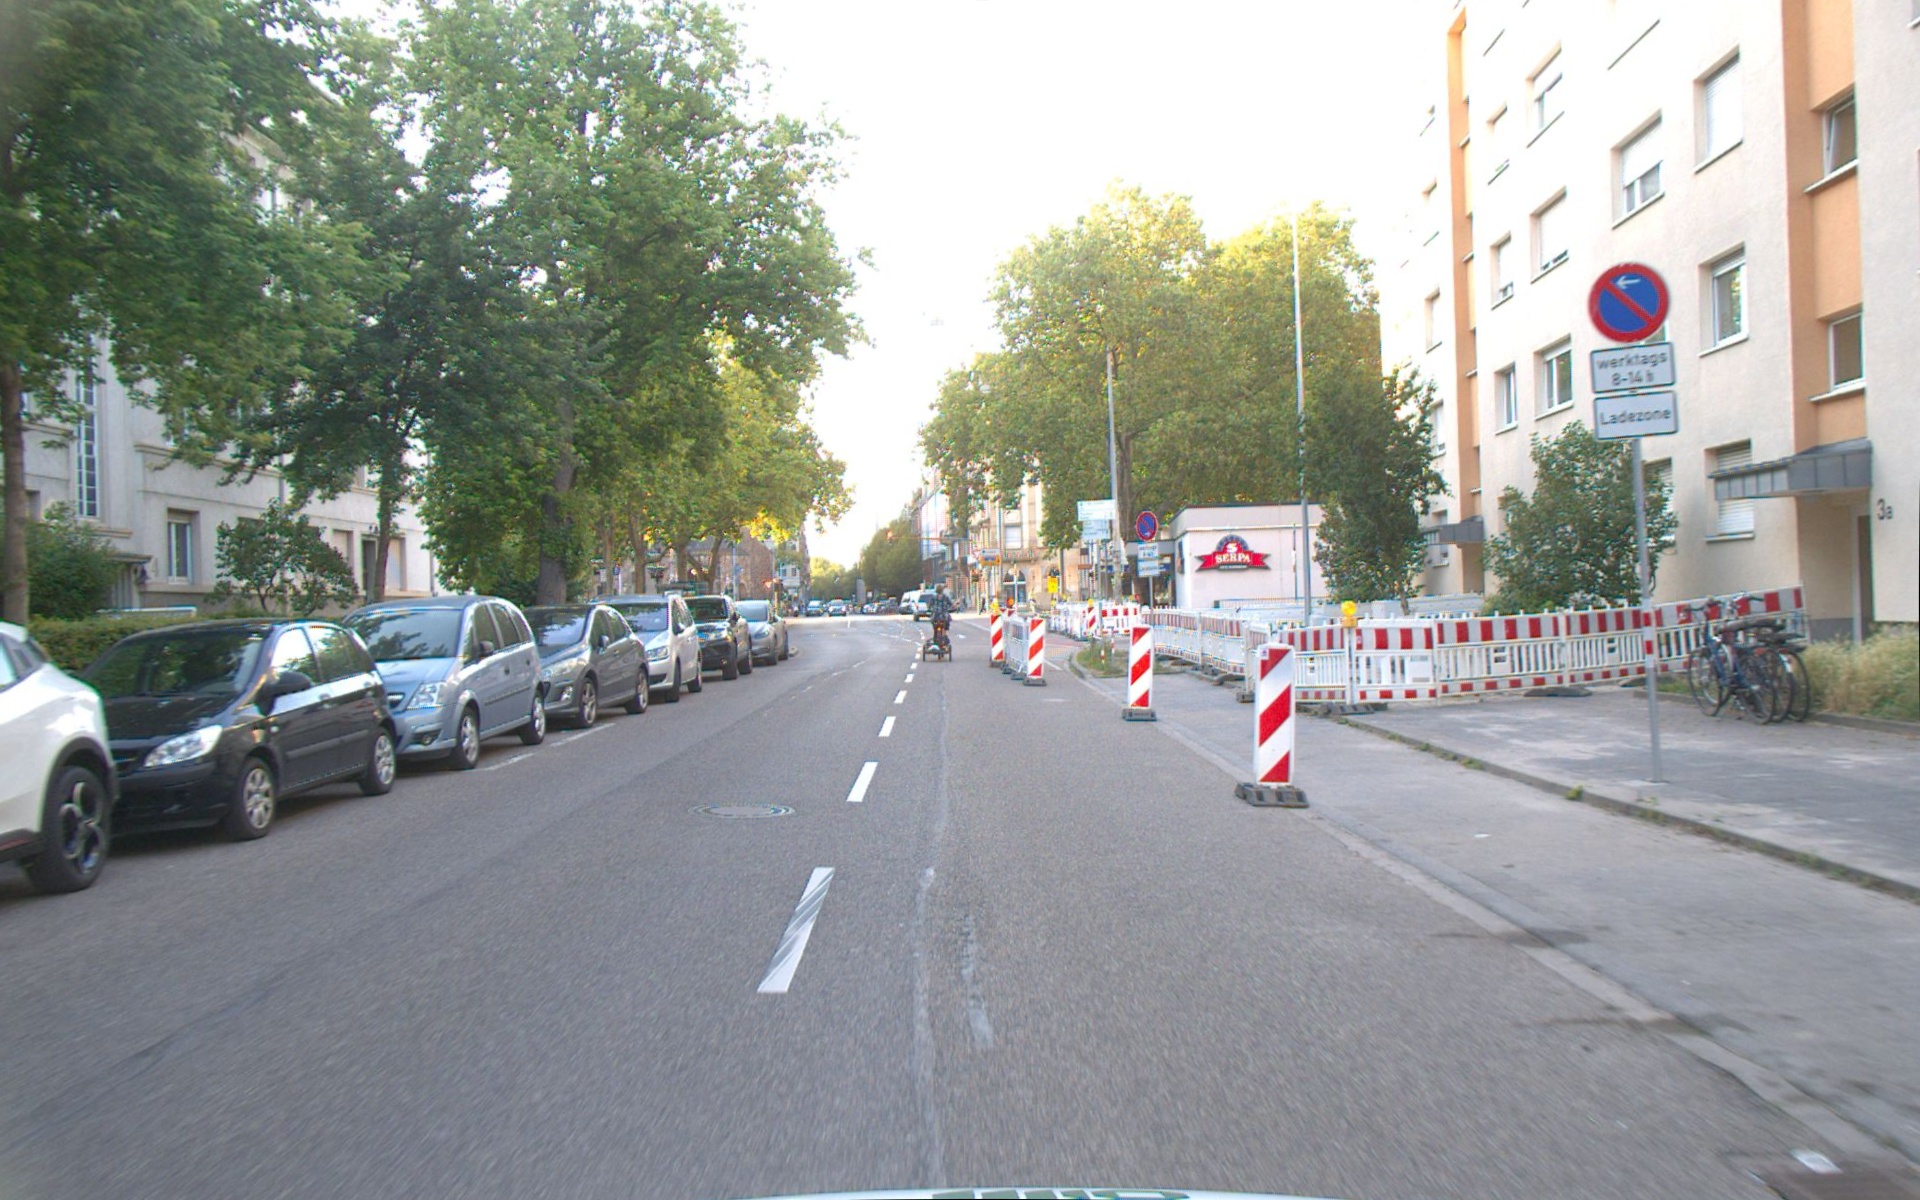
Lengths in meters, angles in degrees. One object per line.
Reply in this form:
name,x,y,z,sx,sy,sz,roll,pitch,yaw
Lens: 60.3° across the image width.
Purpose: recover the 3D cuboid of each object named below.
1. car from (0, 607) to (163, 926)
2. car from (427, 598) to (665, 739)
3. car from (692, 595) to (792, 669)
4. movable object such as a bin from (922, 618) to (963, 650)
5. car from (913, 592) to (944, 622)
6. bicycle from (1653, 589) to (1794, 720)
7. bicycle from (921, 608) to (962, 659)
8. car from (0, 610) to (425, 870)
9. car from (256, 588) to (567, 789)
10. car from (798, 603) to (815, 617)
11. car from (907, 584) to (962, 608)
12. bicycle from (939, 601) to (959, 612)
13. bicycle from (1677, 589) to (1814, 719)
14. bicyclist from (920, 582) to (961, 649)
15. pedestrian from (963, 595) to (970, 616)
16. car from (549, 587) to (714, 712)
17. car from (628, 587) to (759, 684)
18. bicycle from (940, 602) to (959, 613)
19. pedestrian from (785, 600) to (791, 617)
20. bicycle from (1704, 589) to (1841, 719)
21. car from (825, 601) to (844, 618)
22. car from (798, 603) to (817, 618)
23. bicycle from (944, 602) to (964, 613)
car,-5.516,0.881,7.784,1.559,1.565,4.204,-5,0,-3
car,-5.205,0.802,21.405,1.696,1.523,4.272,-4,0,4
car,-5.470,0.771,42.071,1.914,1.645,4.604,-4,0,-1
movable object such as a bin,-0.437,0.828,40.437,0.920,0.701,0.993,-4,0,-2
car,-2.027,0.448,106.042,1.828,1.846,3.998,-2,0,-2
bicycle,7.705,0.524,16.777,0.442,1.243,1.910,-1,0,-3
bicycle,-0.481,0.837,42.107,0.920,1.192,2.358,-4,0,-2
car,-5.446,0.888,12.180,1.673,1.477,3.842,-5,0,0
car,-5.313,0.782,16.599,1.673,1.628,4.116,-5,0,-1
car,-18.754,1.262,202.017,1.956,1.680,3.814,0,0,-9
car,-2.569,-0.399,168.296,5.779,2.328,2.039,-2,0,-44
bicycle,-1.074,0.636,161.799,1.876,0.985,0.545,-2,0,-3
bicycle,7.973,0.523,16.872,0.390,1.243,1.910,-1,0,-3
bicyclist,-0.513,0.392,42.130,0.920,1.609,1.146,-4,-1,-2
pedestrian,0.600,0.508,149.068,0.581,1.919,0.585,-1,0,3
car,-5.217,0.732,26.867,1.810,1.720,4.856,-4,0,-2
car,-5.402,0.686,34.118,1.914,1.748,4.770,-4,0,-1
bicycle,-1.048,0.754,162.078,1.876,0.985,0.545,-2,0,-3
pedestrian,-19.902,0.975,191.077,0.581,1.919,0.585,-1,0,3
bicycle,8.219,0.521,16.808,0.390,1.243,1.825,-1,0,-3
car,-13.121,0.997,172.606,1.748,1.680,3.814,0,0,-9
car,-17.904,1.220,194.328,1.956,1.680,3.814,0,0,-9
bicycle,-0.599,0.759,162.873,1.874,0.985,0.546,-2,0,14
